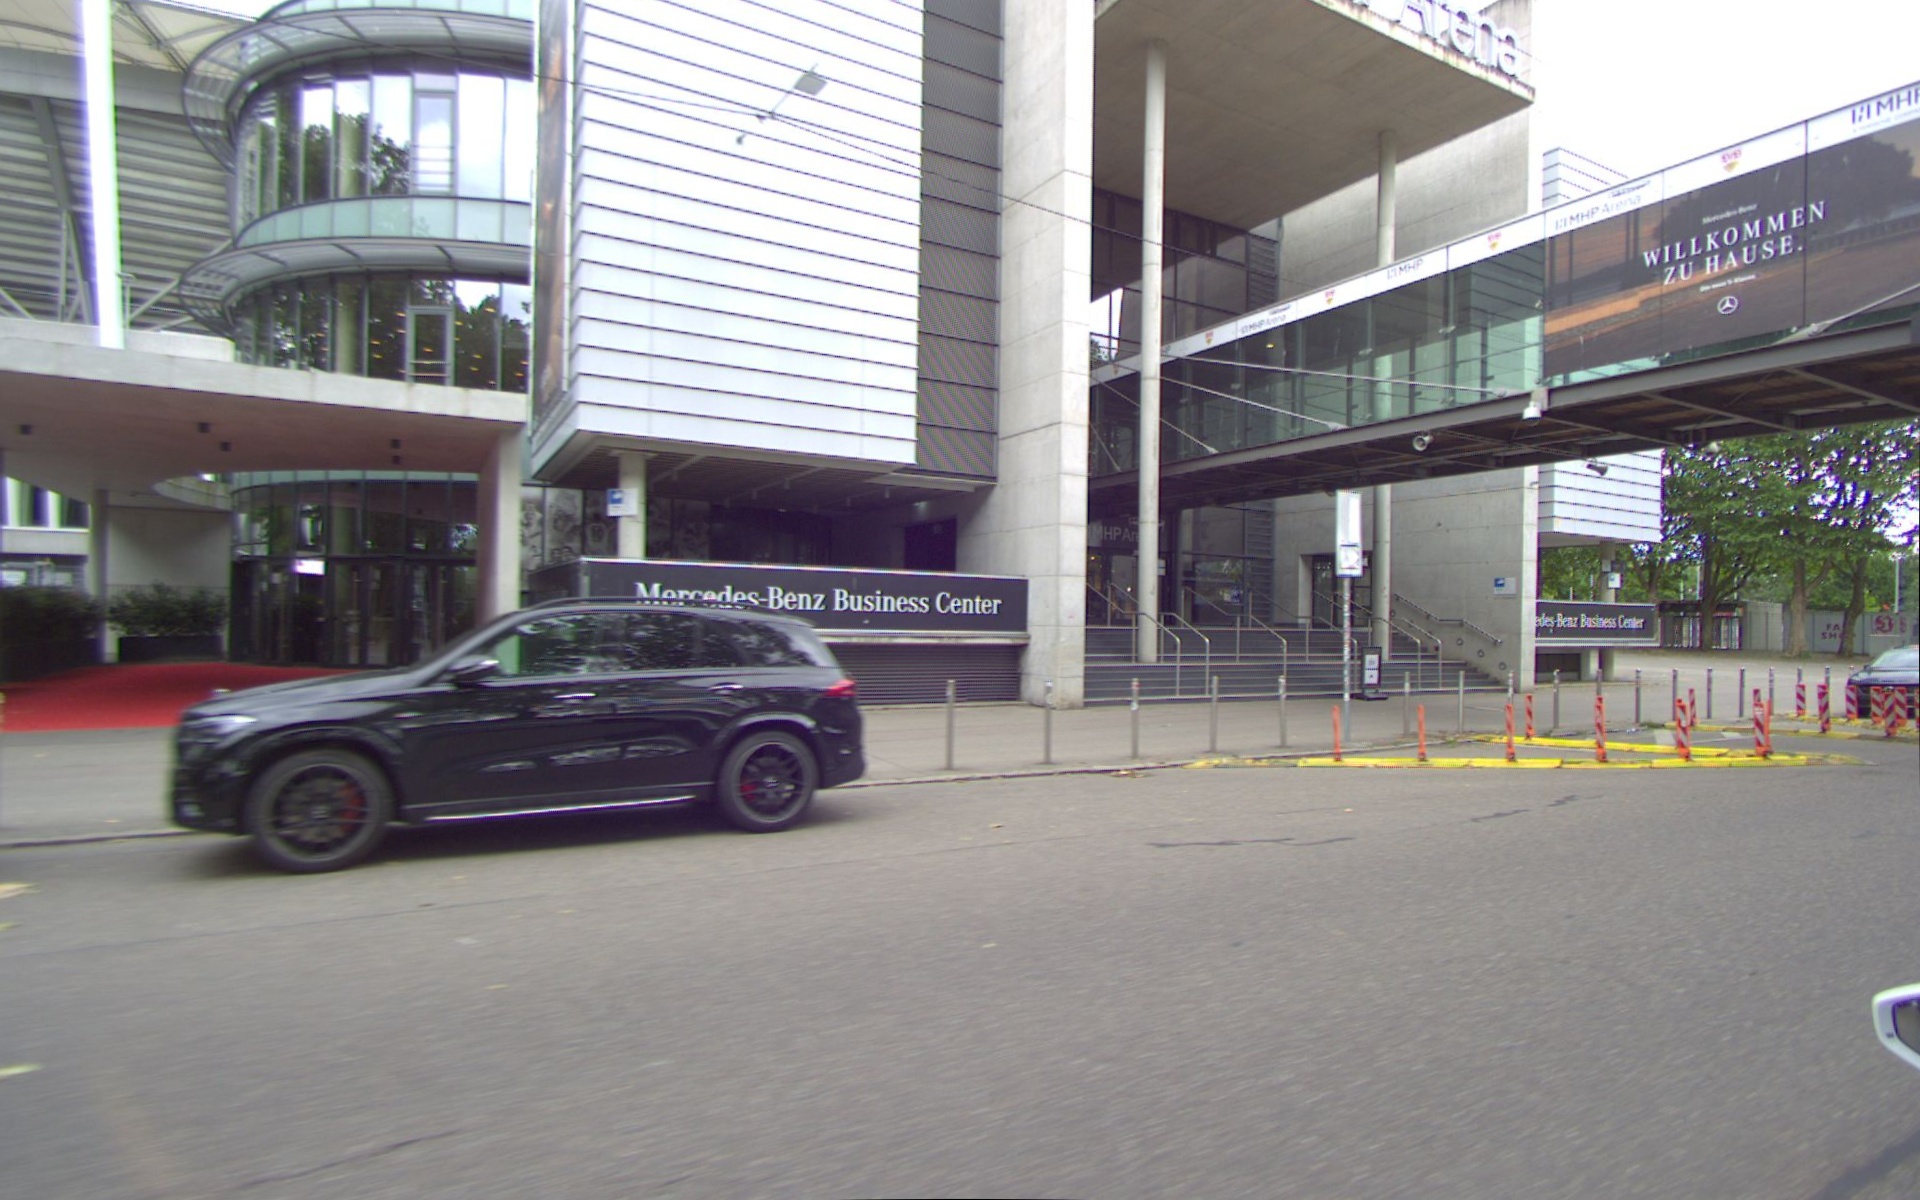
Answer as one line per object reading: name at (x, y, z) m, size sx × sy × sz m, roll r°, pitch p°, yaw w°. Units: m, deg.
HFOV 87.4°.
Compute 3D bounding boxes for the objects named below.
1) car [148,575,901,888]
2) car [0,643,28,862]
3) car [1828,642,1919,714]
car at (-3.085, 0.860, 7.943) m, size 4.849 × 1.812 × 2.026 m, roll 1°, pitch -4°, yaw -30°
car at (-7.983, 0.948, 5.210) m, size 4.273 × 1.438 × 1.697 m, roll 1°, pitch -3°, yaw -30°
car at (21.509, 1.693, 22.414) m, size 4.395 × 1.472 × 1.850 m, roll 1°, pitch -4°, yaw -30°
